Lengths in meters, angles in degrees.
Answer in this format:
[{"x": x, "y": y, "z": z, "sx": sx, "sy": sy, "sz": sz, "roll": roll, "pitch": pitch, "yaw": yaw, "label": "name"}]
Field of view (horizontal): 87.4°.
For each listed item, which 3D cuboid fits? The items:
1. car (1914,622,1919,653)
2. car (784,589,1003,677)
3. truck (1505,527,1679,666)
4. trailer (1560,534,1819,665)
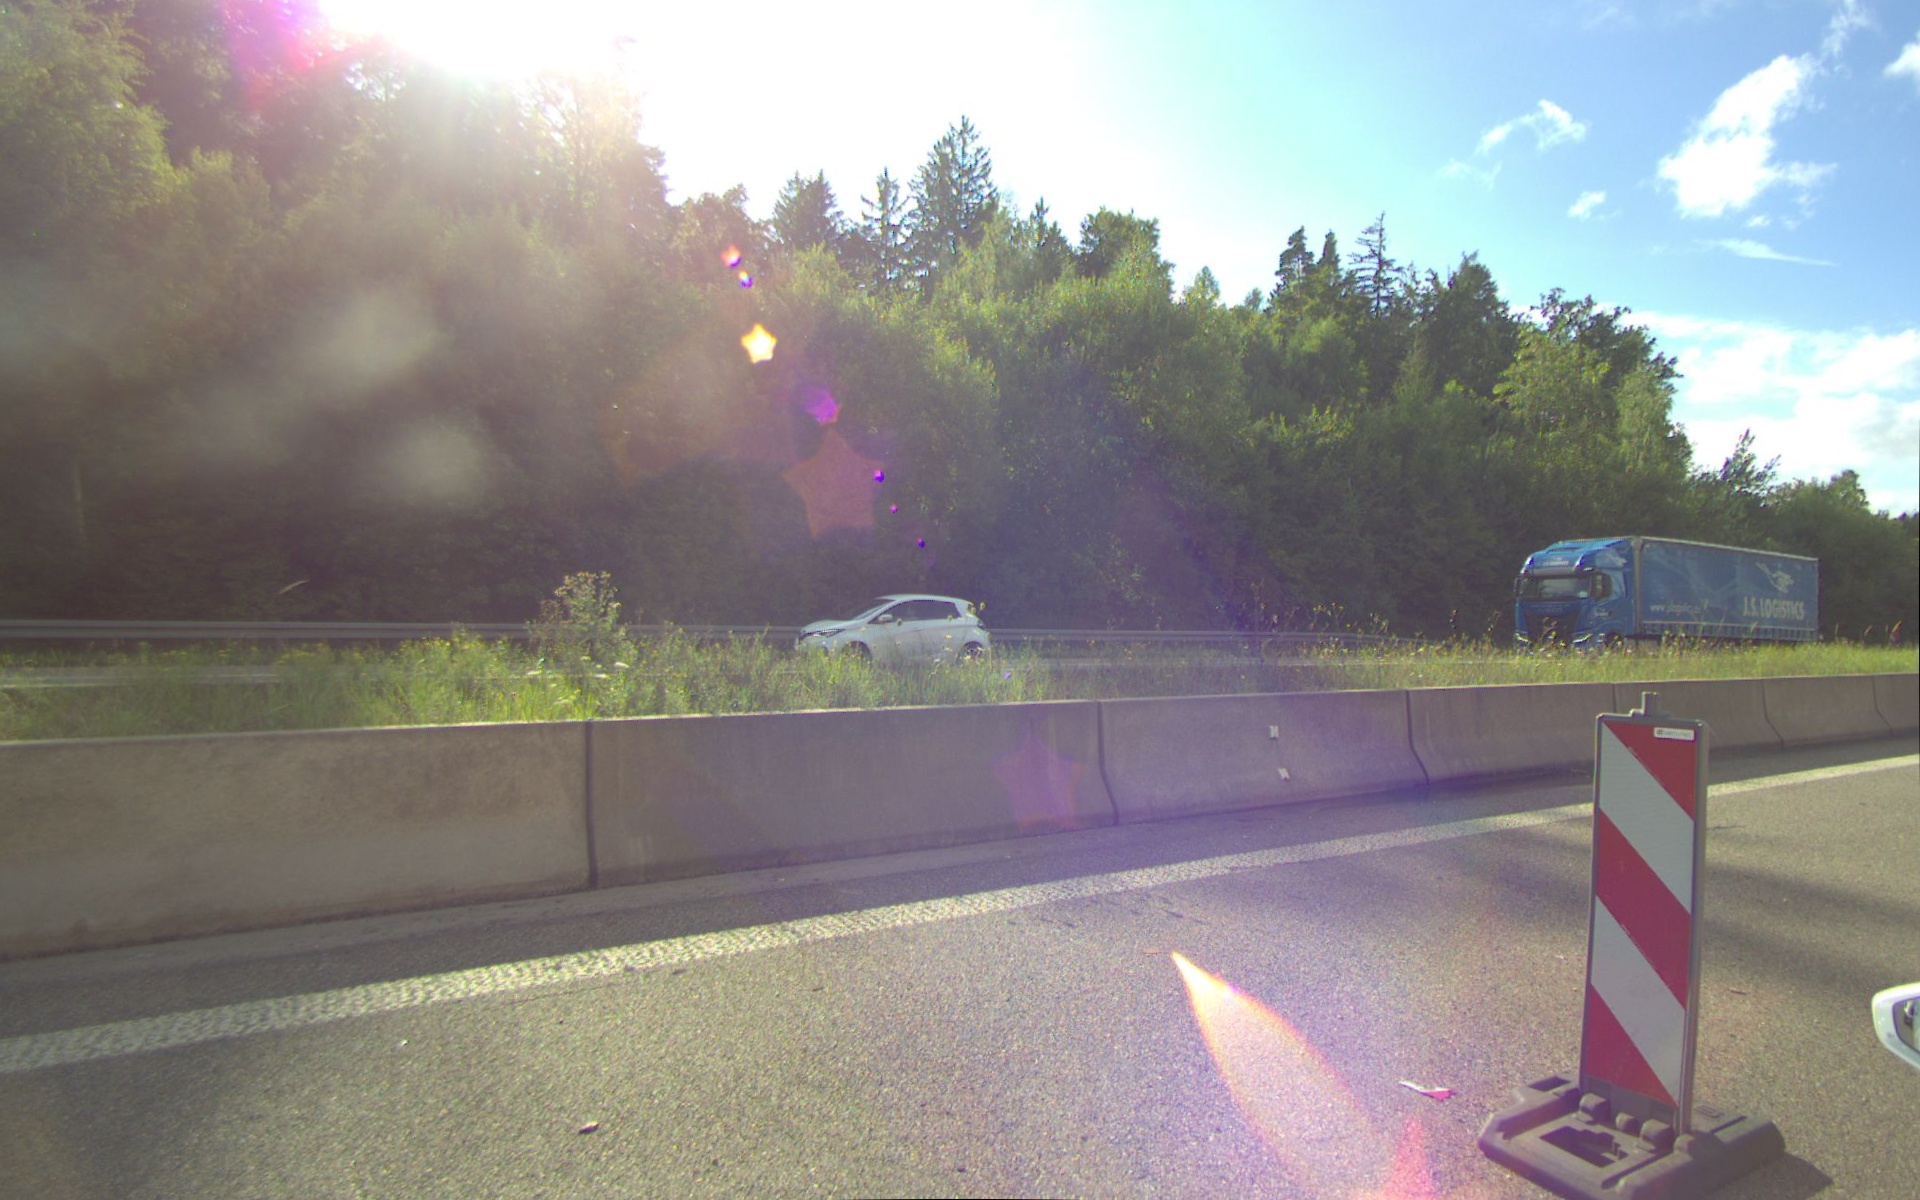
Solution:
[{"x": 64.299, "y": 2.501, "z": 65.472, "sx": 3.953, "sy": 2.040, "sz": 1.984, "roll": 2, "pitch": 0, "yaw": -30, "label": "car"}, {"x": -1.289, "y": 0.651, "z": 19.971, "sx": 3.953, "sy": 1.581, "sz": 1.778, "roll": 2, "pitch": 0, "yaw": -30, "label": "car"}, {"x": 20.876, "y": -0.071, "z": 33.165, "sx": 5.403, "sy": 4.245, "sz": 2.625, "roll": 1, "pitch": 0, "yaw": -30, "label": "truck"}, {"x": 27.014, "y": 0.121, "z": 36.807, "sx": 13.216, "sy": 4.196, "sz": 2.607, "roll": 1, "pitch": 0, "yaw": -31, "label": "trailer"}]
